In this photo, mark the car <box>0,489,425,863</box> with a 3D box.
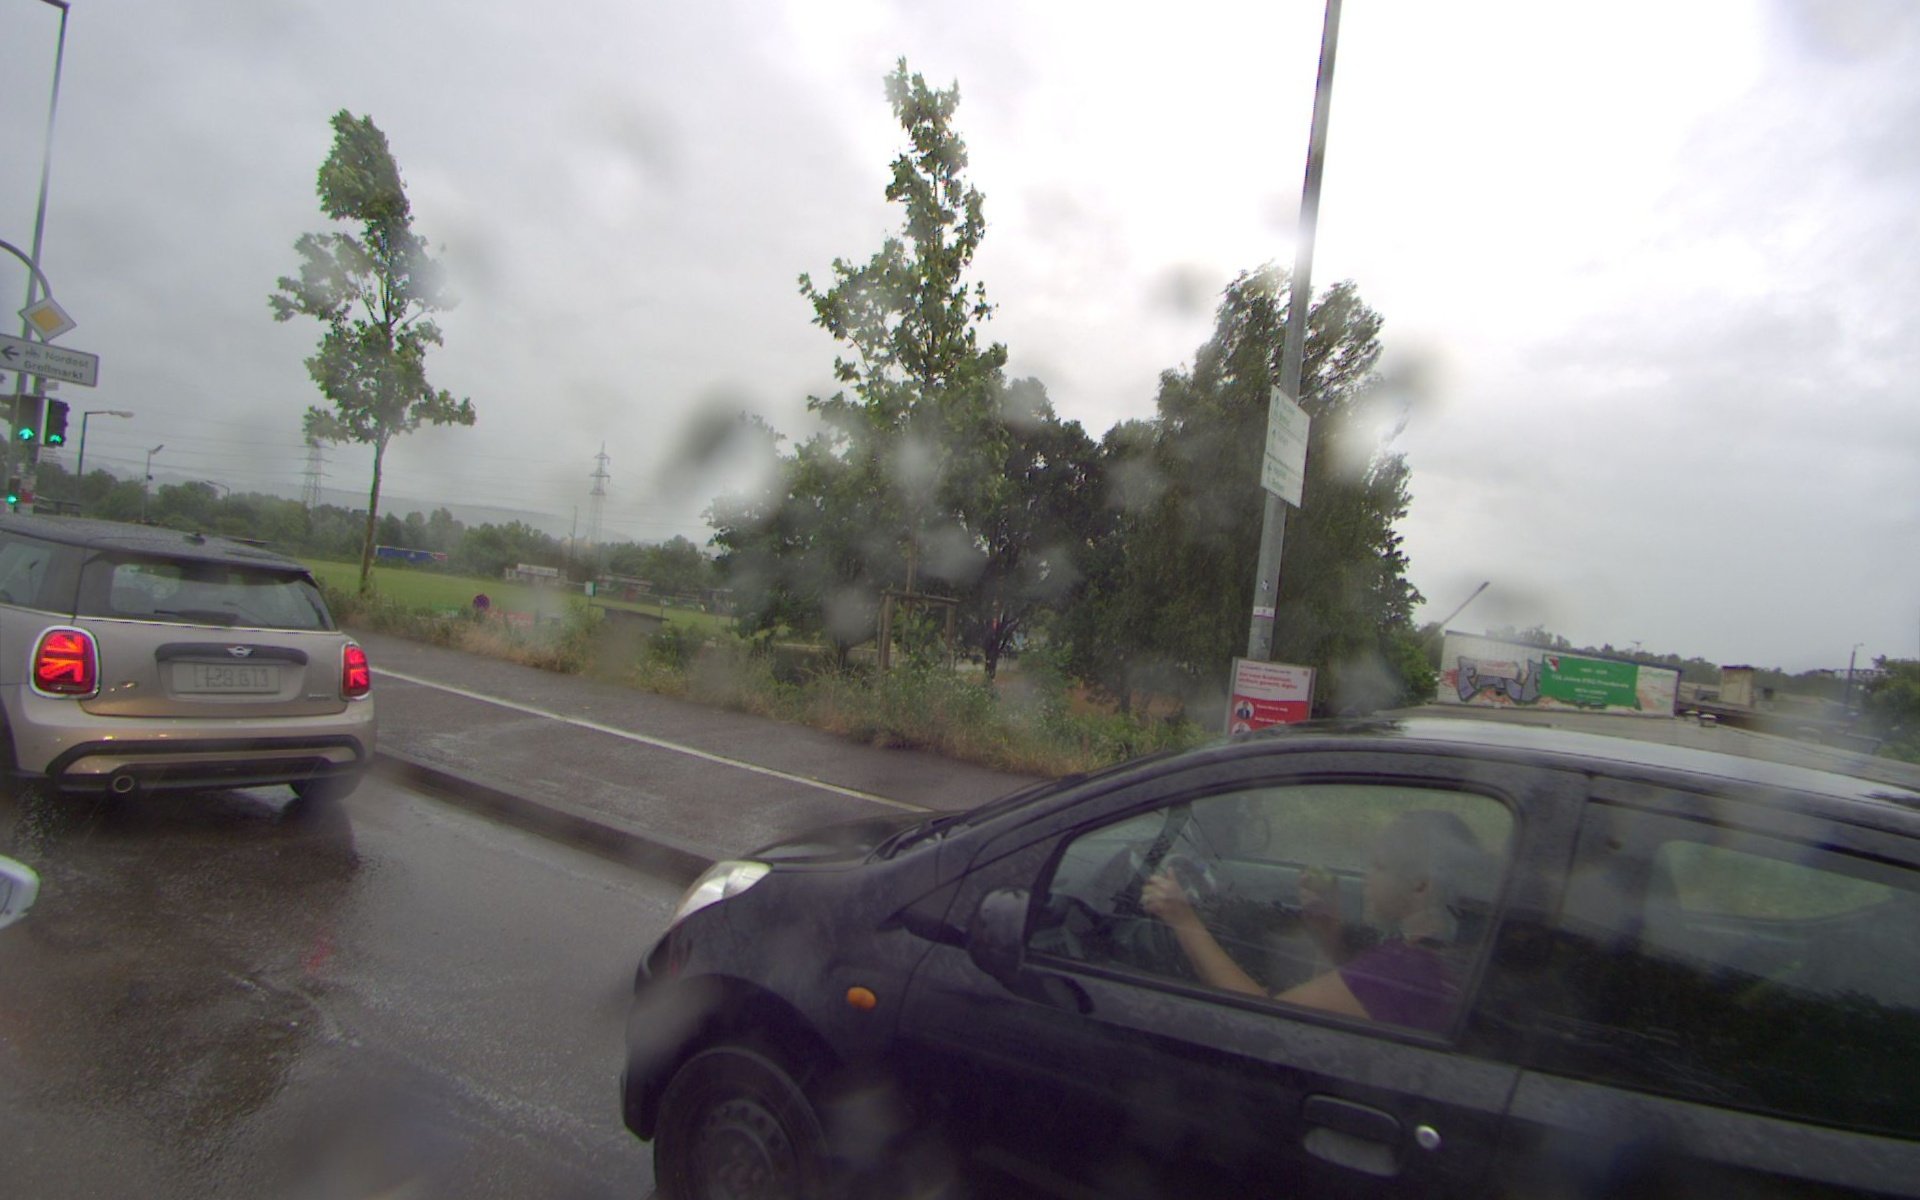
[{"bbox_3d":[-4.989,0.227,5.715,3.563,1.525,1.717,7,-2,31],"label":"car"}]

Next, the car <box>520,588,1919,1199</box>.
[{"bbox_3d":[0.984,0.957,2.156,3.563,1.445,1.632,7,-1,31],"label":"car"}]

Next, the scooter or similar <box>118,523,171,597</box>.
[{"bbox_3d":[-13.915,-0.690,17.149,1.167,1.171,0.246,6,-1,33],"label":"scooter or similar"}]
